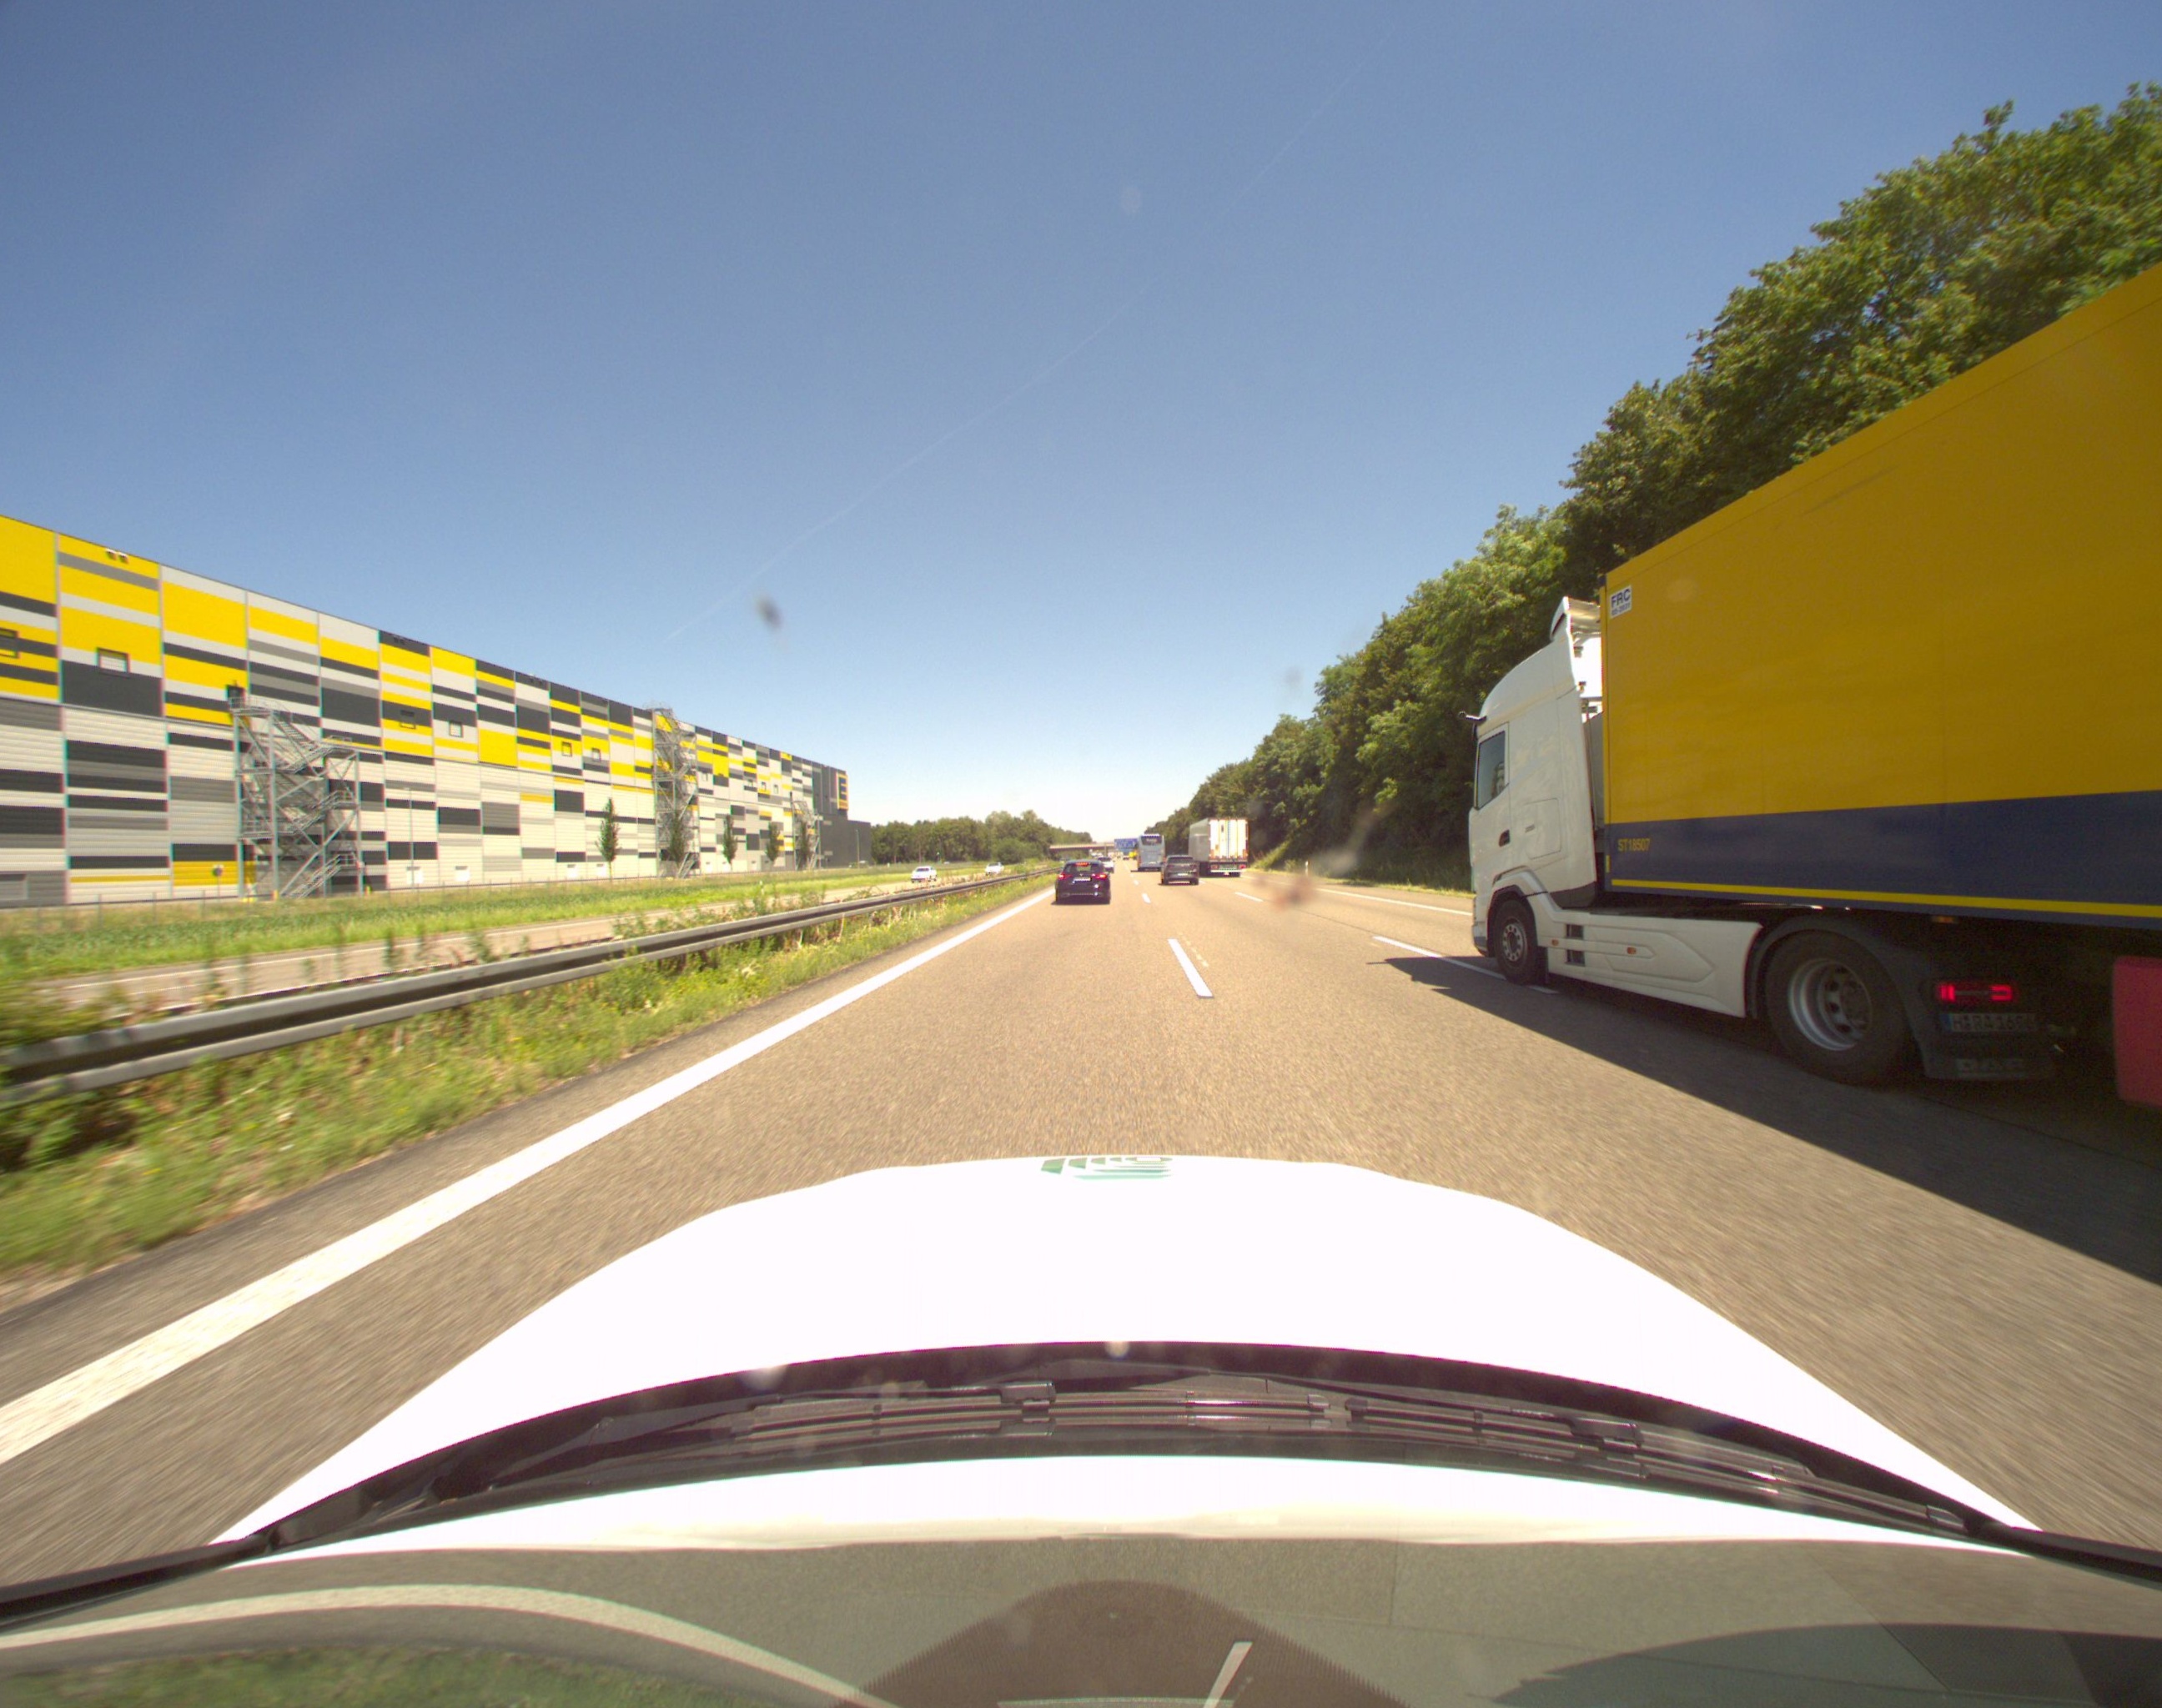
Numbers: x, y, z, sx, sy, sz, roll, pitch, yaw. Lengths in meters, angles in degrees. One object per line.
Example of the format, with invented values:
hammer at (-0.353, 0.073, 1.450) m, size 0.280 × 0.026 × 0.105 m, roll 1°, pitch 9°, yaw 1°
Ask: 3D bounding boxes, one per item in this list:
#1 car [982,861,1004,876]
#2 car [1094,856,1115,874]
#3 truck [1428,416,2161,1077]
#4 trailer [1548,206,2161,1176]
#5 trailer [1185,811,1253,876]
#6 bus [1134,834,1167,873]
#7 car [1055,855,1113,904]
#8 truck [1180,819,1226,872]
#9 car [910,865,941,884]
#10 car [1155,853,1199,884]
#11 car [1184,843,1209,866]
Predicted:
car at (-10.000, 1.616, 92.930) m, size 1.792 × 1.532 × 4.486 m, roll -2°, pitch 0°, yaw 3°
car at (2.160, 1.012, 74.624) m, size 1.892 × 1.532 × 4.243 m, roll -1°, pitch 0°, yaw 2°
truck at (6.007, -0.668, 8.065) m, size 2.668 × 4.069 × 6.050 m, roll -1°, pitch 0°, yaw 2°
trailer at (5.815, -0.695, 1.179) m, size 2.667 × 4.069 × 13.840 m, roll -1°, pitch 0°, yaw 2°
trailer at (9.878, -0.694, 60.079) m, size 3.028 × 4.224 × 13.840 m, roll -1°, pitch 0°, yaw 2°
bus at (6.915, -0.051, 82.667) m, size 2.791 × 3.596 × 12.482 m, roll -1°, pitch 0°, yaw 3°
car at (0.146, 0.790, 27.422) m, size 1.793 × 1.502 × 4.243 m, roll -1°, pitch 0°, yaw 2°
truck at (10.108, -0.687, 67.879) m, size 3.036 × 4.215 × 6.050 m, roll -1°, pitch 0°, yaw 1°
car at (-14.501, 1.897, 76.203) m, size 1.793 × 1.532 × 4.634 m, roll -2°, pitch 0°, yaw 2°
car at (4.990, 0.710, 43.045) m, size 1.892 × 1.532 × 4.761 m, roll -1°, pitch 0°, yaw 2°
car at (11.064, 0.061, 78.424) m, size 1.892 × 2.120 × 4.243 m, roll -1°, pitch 0°, yaw 2°
